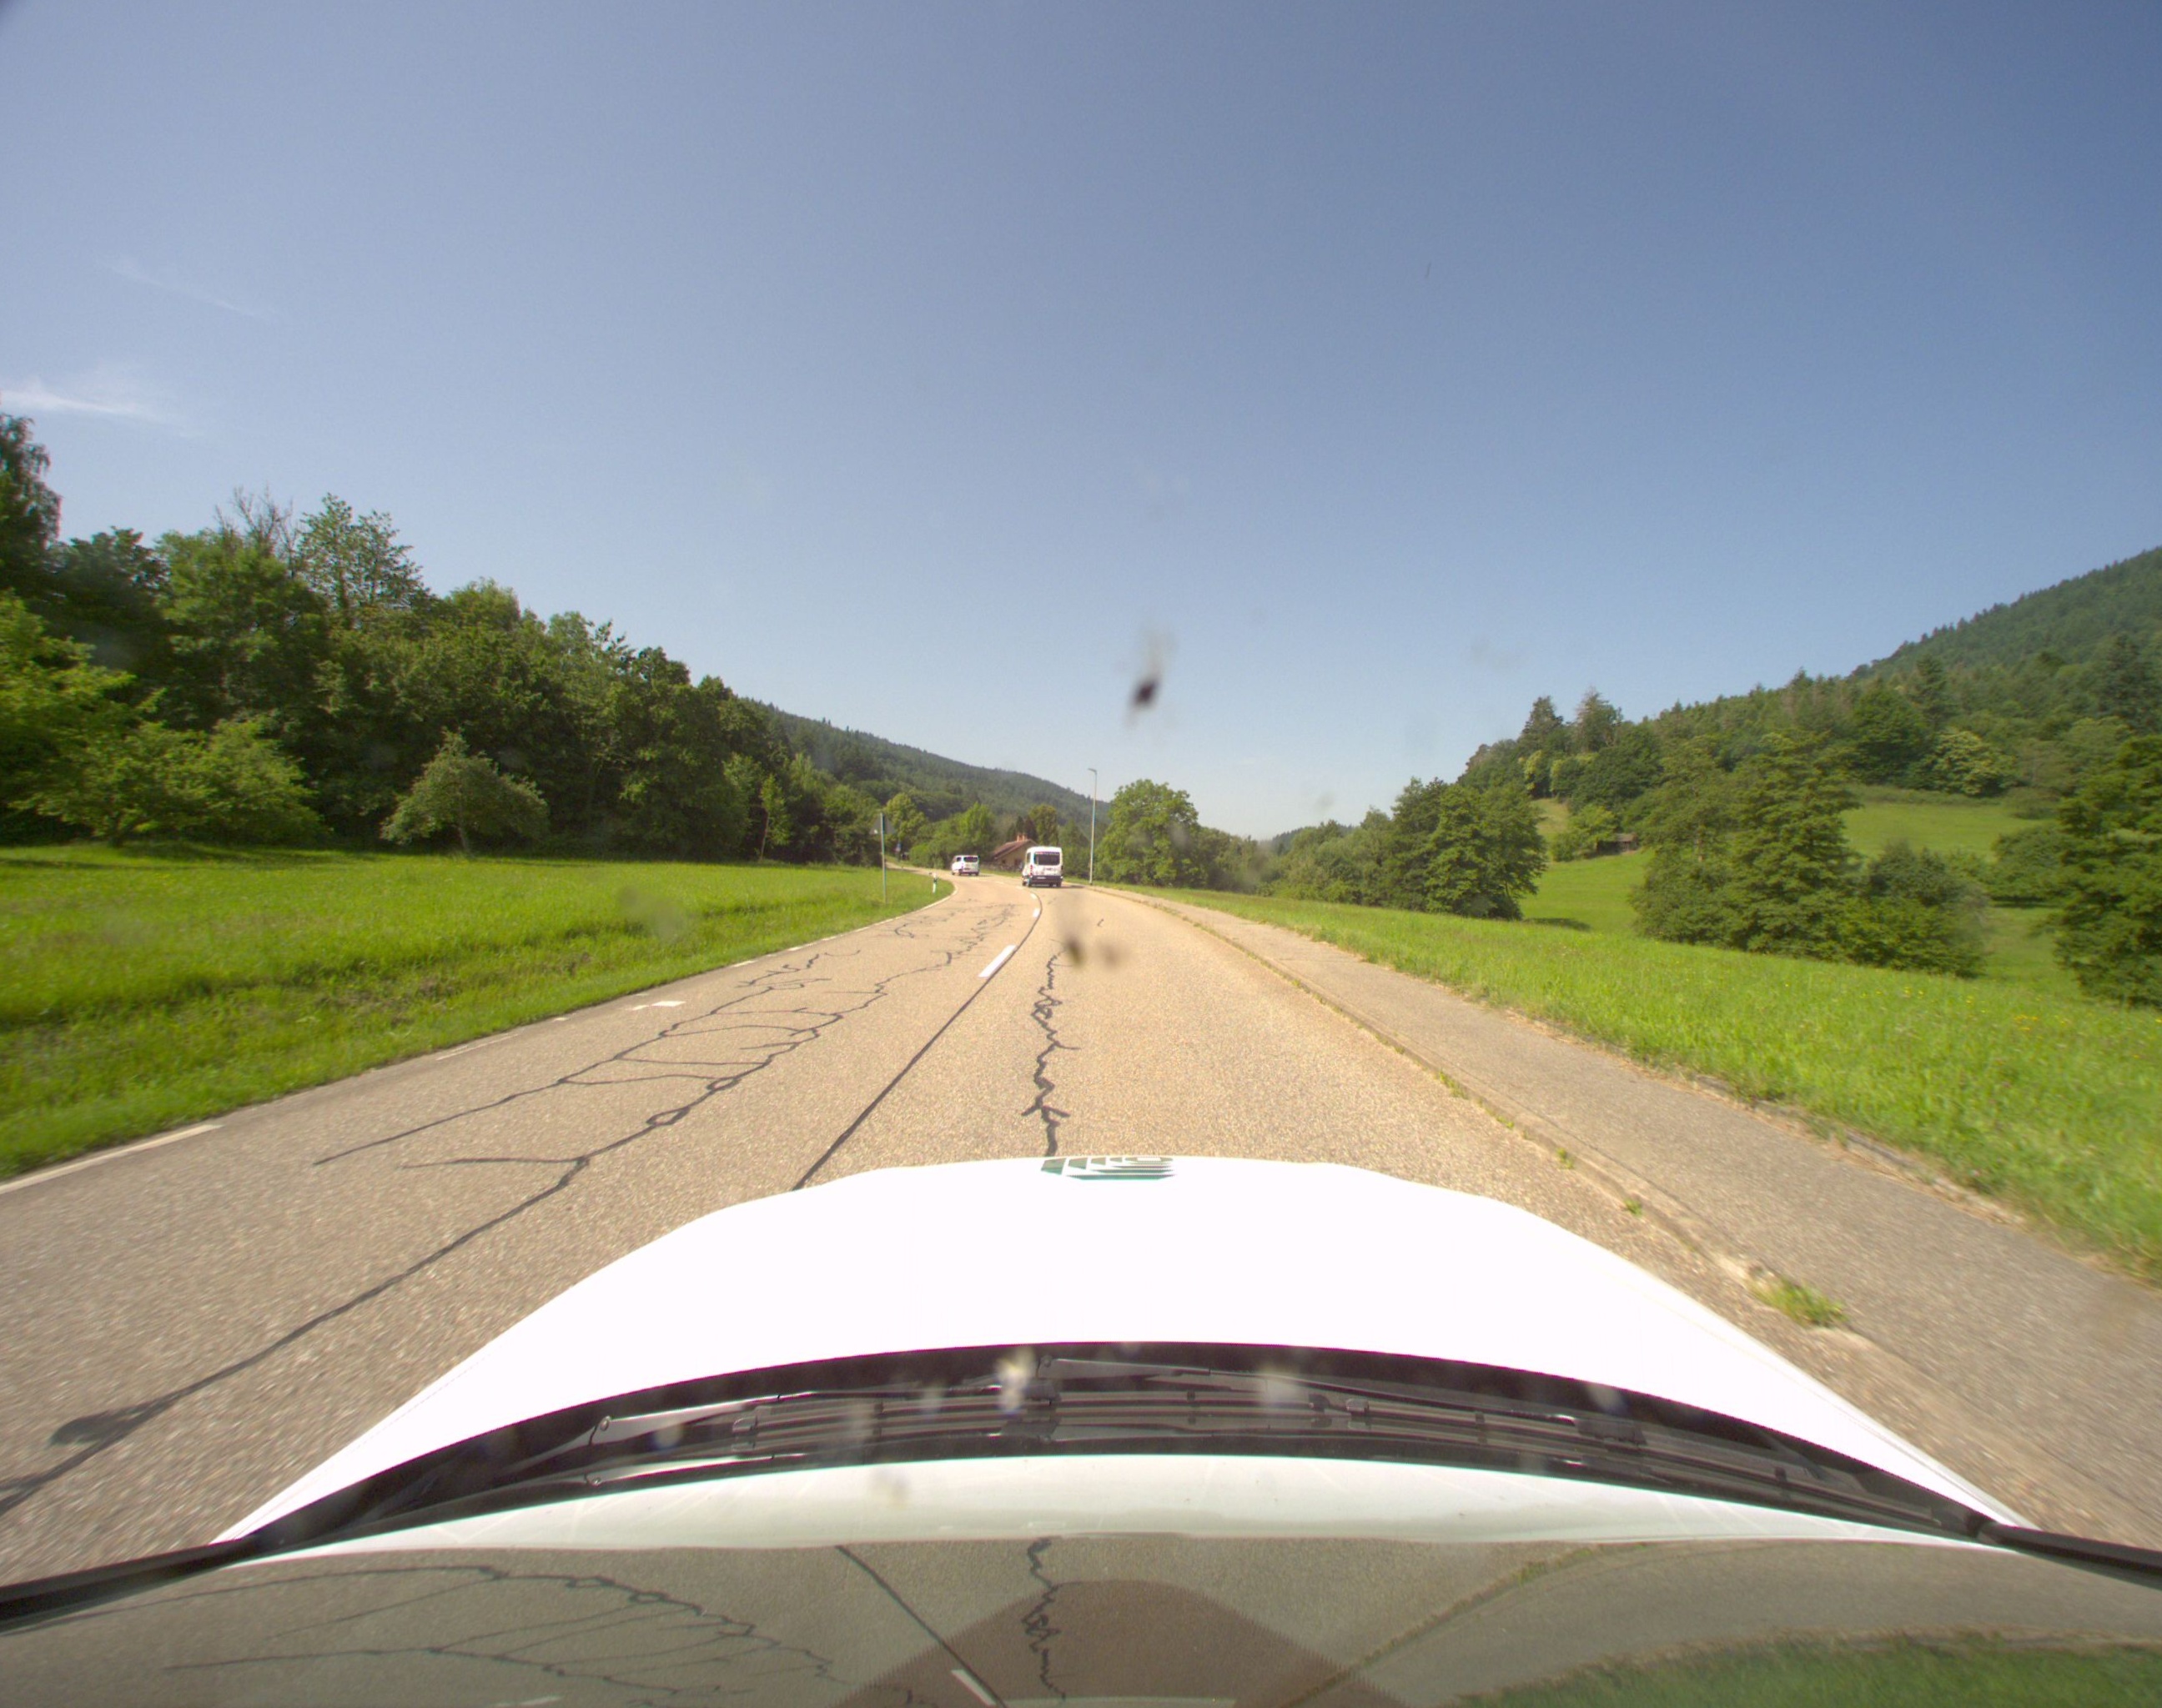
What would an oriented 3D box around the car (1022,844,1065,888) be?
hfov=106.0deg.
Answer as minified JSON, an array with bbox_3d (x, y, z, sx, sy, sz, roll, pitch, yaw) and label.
[{"bbox_3d":[-2.408,0.741,50.588,2.221,2.526,4.971,-2,-1,-7],"label":"car"}]

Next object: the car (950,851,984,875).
[{"bbox_3d":[-11.373,0.929,80.866,2.231,2.287,4.948,-2,-1,-21],"label":"car"}]
